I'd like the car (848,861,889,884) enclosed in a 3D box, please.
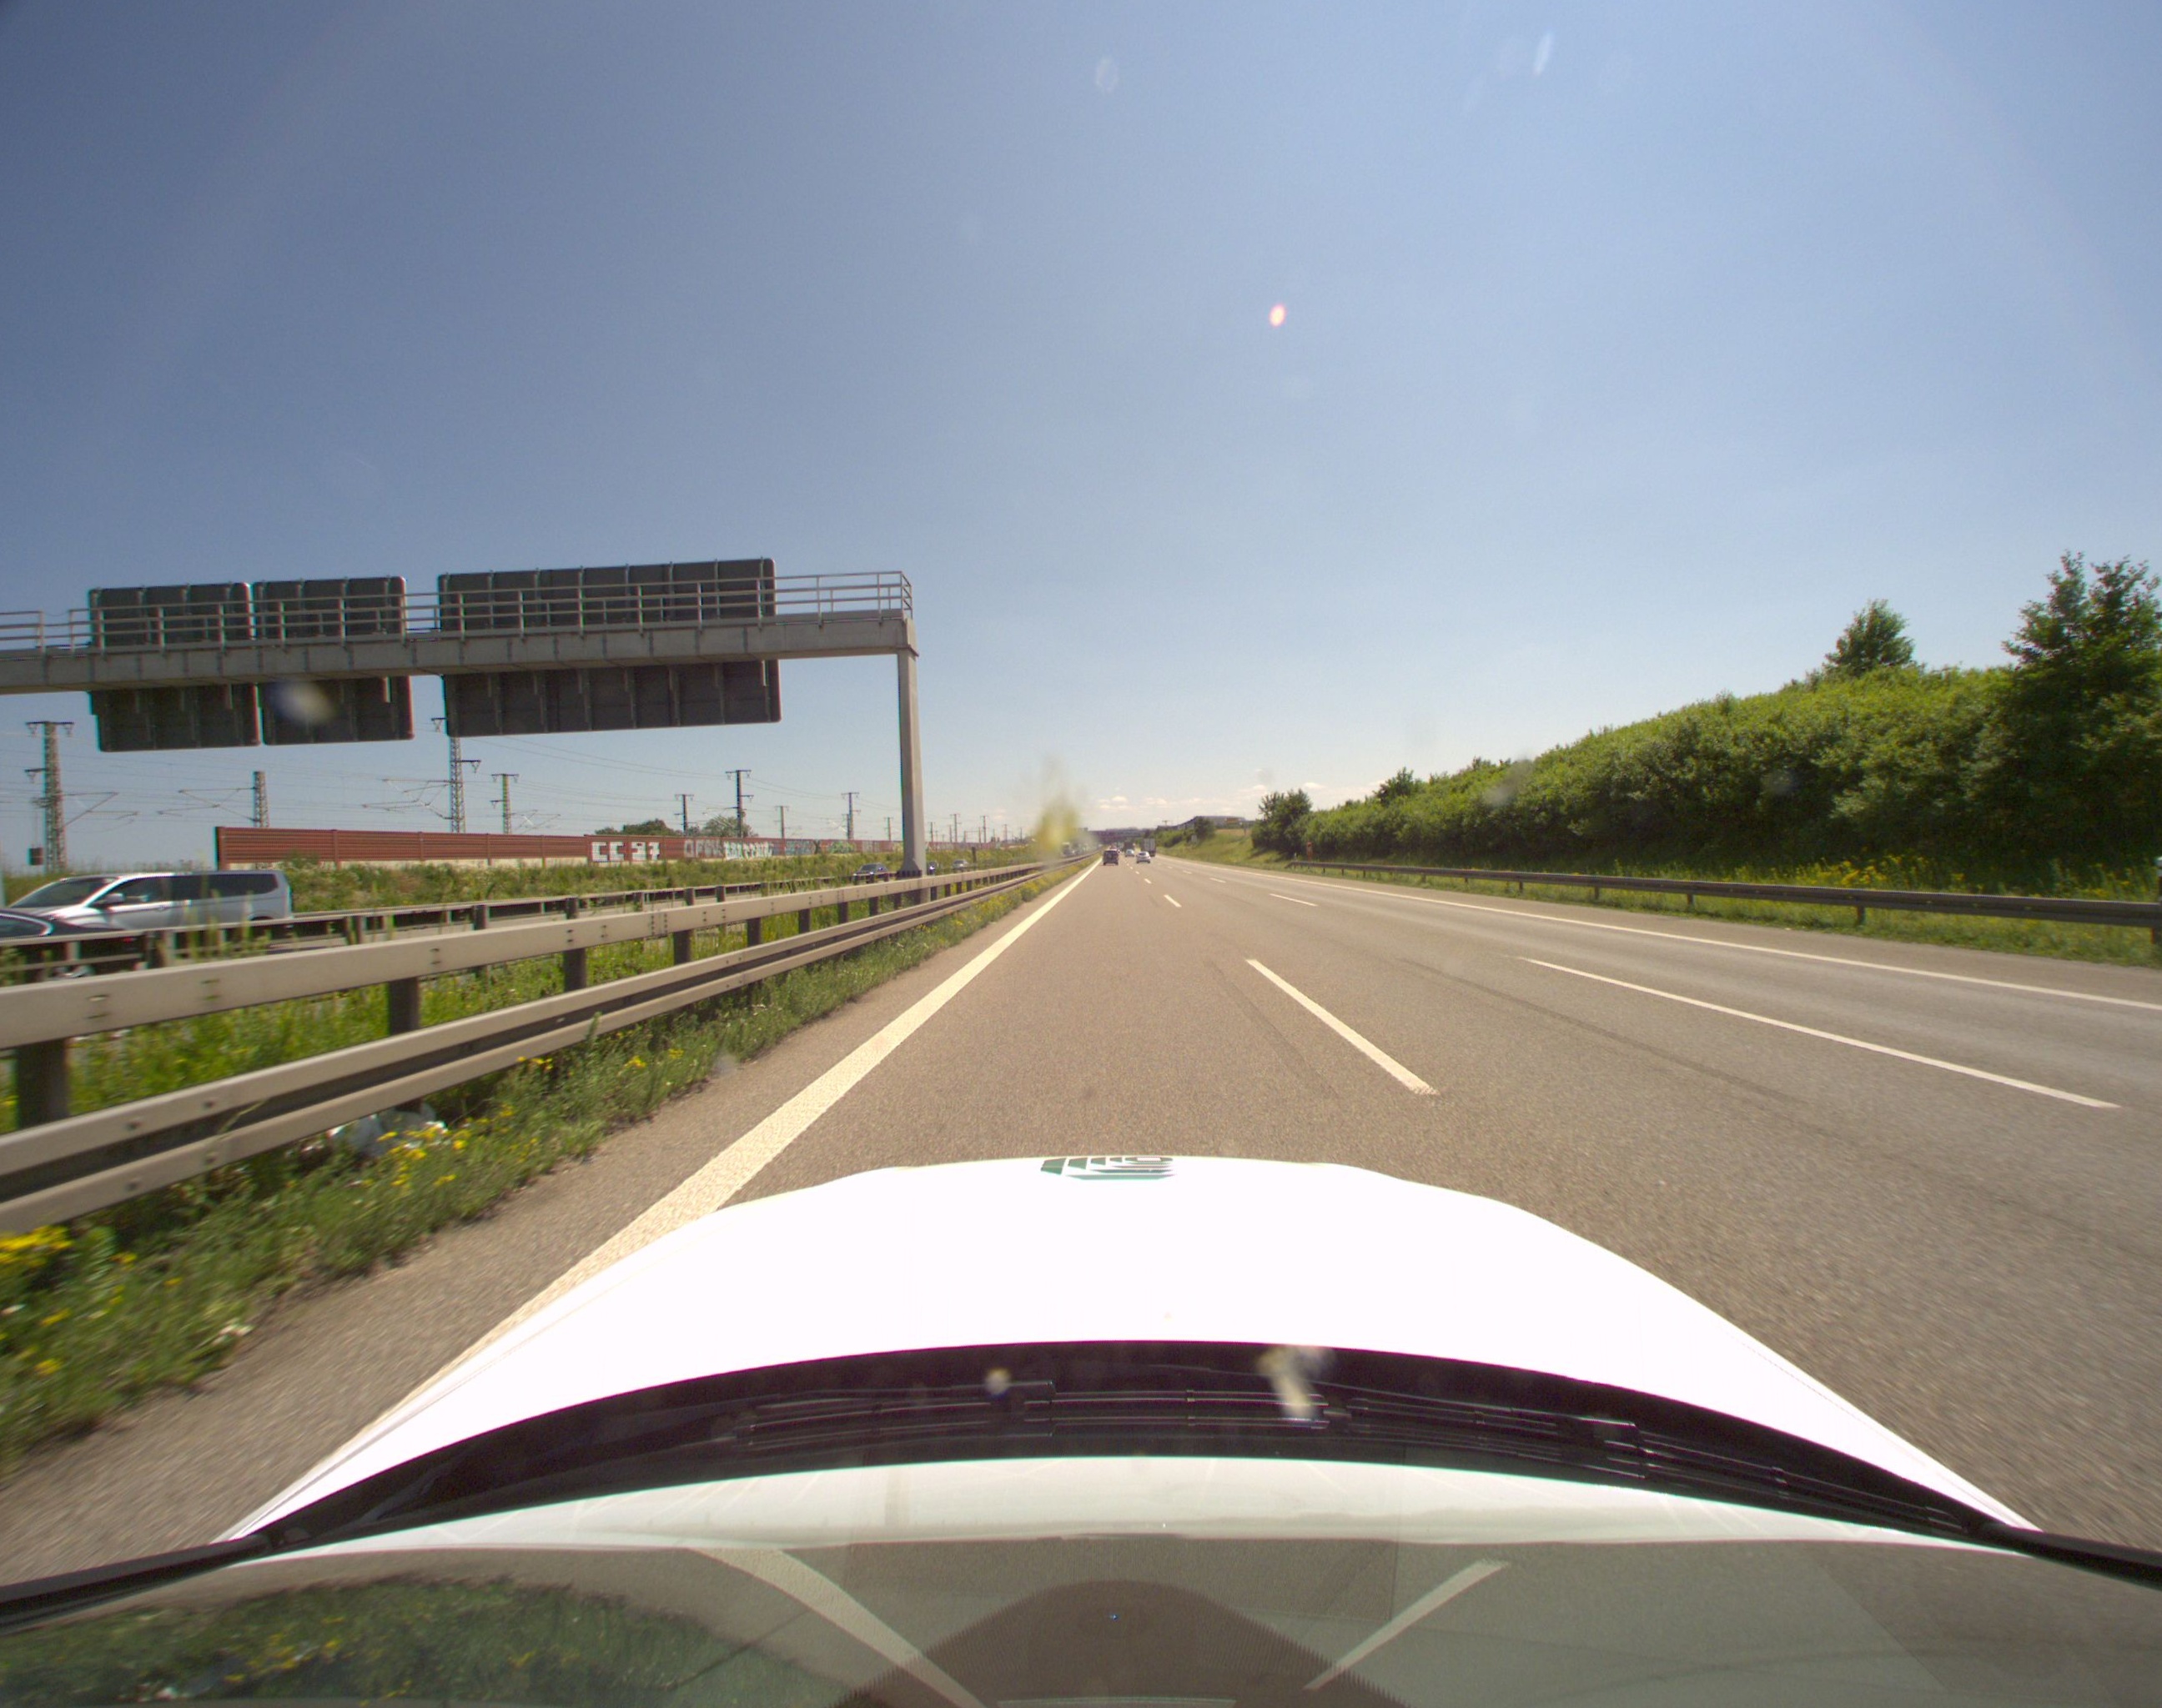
[{"bbox_3d":[-17.618,1.519,67.643,1.985,1.726,4.516,-1,0,3],"label":"car"}]

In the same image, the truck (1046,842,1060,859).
[{"bbox_3d":[-7.568,-1.053,219.845,2.877,4.407,7.508,-3,0,2],"label":"truck"}]

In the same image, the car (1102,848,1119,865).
[{"bbox_3d":[3.478,0.286,95.430,1.873,1.775,4.002,-2,0,2],"label":"car"}]

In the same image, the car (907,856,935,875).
[{"bbox_3d":[-17.081,1.234,87.001,1.986,2.014,4.312,0,-1,2],"label":"car"}]

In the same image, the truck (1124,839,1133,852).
[{"bbox_3d":[12.526,-2.262,214.744,2.346,3.416,6.061,-2,1,2],"label":"truck"}]

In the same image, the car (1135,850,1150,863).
[{"bbox_3d":[7.961,0.323,104.771,1.872,1.526,4.006,-1,0,5],"label":"car"}]

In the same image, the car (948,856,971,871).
[{"bbox_3d":[-15.720,1.218,105.550,1.986,1.726,4.515,-1,0,2],"label":"car"}]

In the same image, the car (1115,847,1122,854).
[{"bbox_3d":[11.419,-1.027,248.824,1.986,2.013,4.001,-1,0,2],"label":"car"}]

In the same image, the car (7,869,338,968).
[{"bbox_3d":[-20.873,1.370,19.159,1.985,1.885,4.983,-1,0,4],"label":"car"}]

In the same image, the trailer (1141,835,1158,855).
[{"bbox_3d":[14.604,-1.857,173.841,3.165,4.059,9.445,-2,1,2],"label":"trailer"}]

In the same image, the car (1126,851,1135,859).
[{"bbox_3d":[10.353,0.168,171.202,1.873,1.526,4.003,-1,0,3],"label":"car"}]

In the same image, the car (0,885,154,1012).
[{"bbox_3d":[-14.993,1.272,9.966,1.984,1.576,4.482,-1,0,4],"label":"car"}]
